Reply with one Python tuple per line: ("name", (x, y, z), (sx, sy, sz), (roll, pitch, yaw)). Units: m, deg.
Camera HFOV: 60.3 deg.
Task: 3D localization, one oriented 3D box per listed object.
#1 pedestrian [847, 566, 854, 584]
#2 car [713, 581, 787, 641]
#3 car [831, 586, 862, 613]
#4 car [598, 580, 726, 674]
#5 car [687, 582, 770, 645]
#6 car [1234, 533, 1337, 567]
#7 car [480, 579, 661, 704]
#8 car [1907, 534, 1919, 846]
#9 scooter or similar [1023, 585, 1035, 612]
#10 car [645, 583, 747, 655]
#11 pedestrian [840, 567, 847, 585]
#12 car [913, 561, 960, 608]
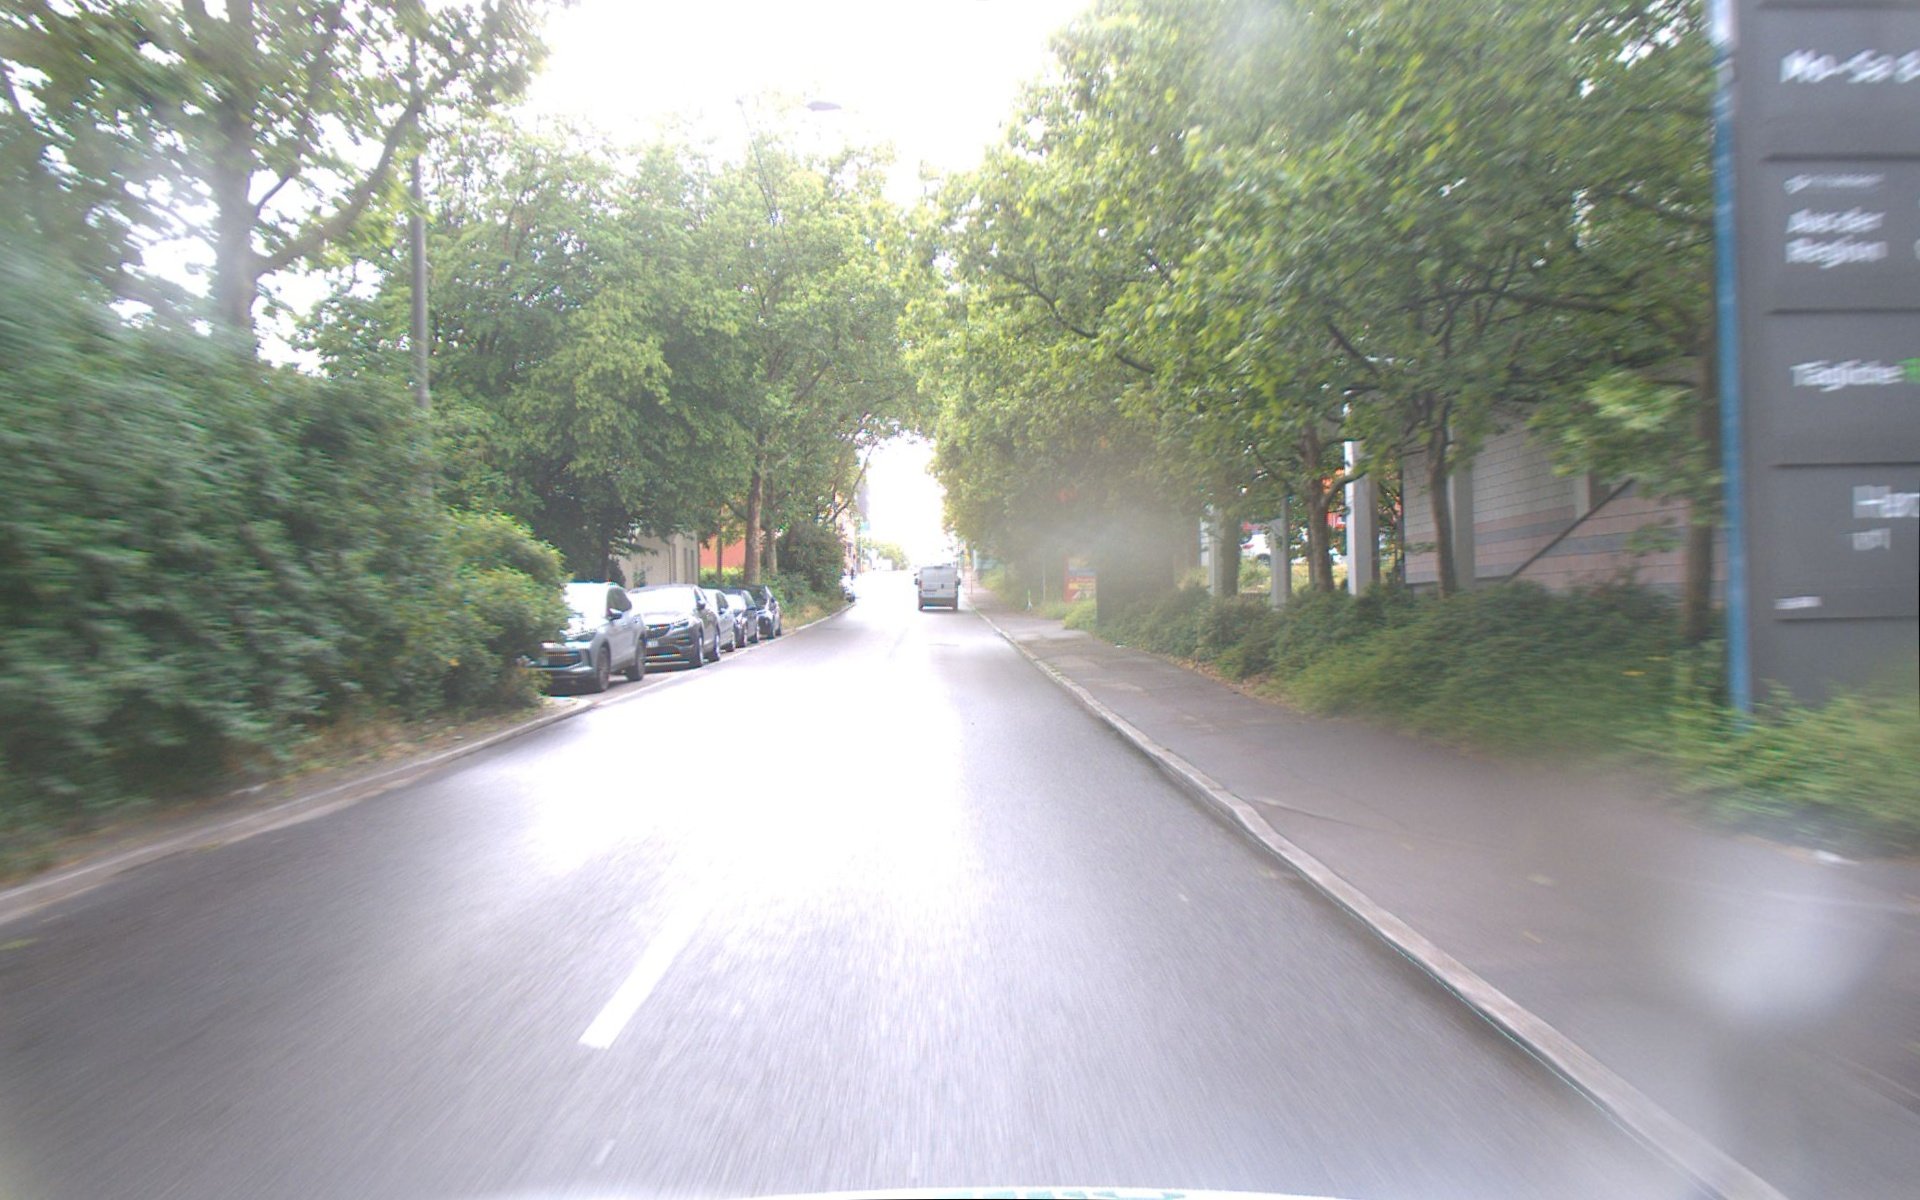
("pedestrian", (-12.911, -2.945, 194.517), (0.657, 2.049, 0.942), (0, 1, 3))
("car", (-6.112, 0.300, 48.510), (1.615, 1.564, 4.017), (-5, 1, -1))
("car", (-7.040, -0.041, 103.049), (1.656, 1.569, 4.117), (-2, 0, -1))
("car", (-5.778, 0.477, 32.544), (1.827, 1.619, 4.237), (-3, 1, -2))
("car", (-5.962, 0.312, 42.913), (1.638, 1.534, 3.874), (1, 1, 0))
("car", (13.907, -2.135, 70.719), (4.017, 1.400, 1.903), (0, 0, -1))
("car", (-6.168, 0.581, 26.743), (1.699, 1.686, 4.564), (-5, 1, 0))
("car", (4.670, 0.515, 3.870), (3.776, 1.574, 2.023), (-3, 0, -7))
("scooter or similar", (3.086, -0.075, 73.938), (0.417, 1.162, 1.528), (1, -1, -3))
("car", (-5.989, 0.393, 37.945), (1.637, 1.534, 4.123), (0, 0, 1))
("pedestrian", (-13.696, -2.803, 194.554), (0.657, 2.049, 0.942), (0, 1, 3))
("car", (-1.174, -0.762, 83.756), (2.288, 2.270, 3.999), (-2, -1, 0))
